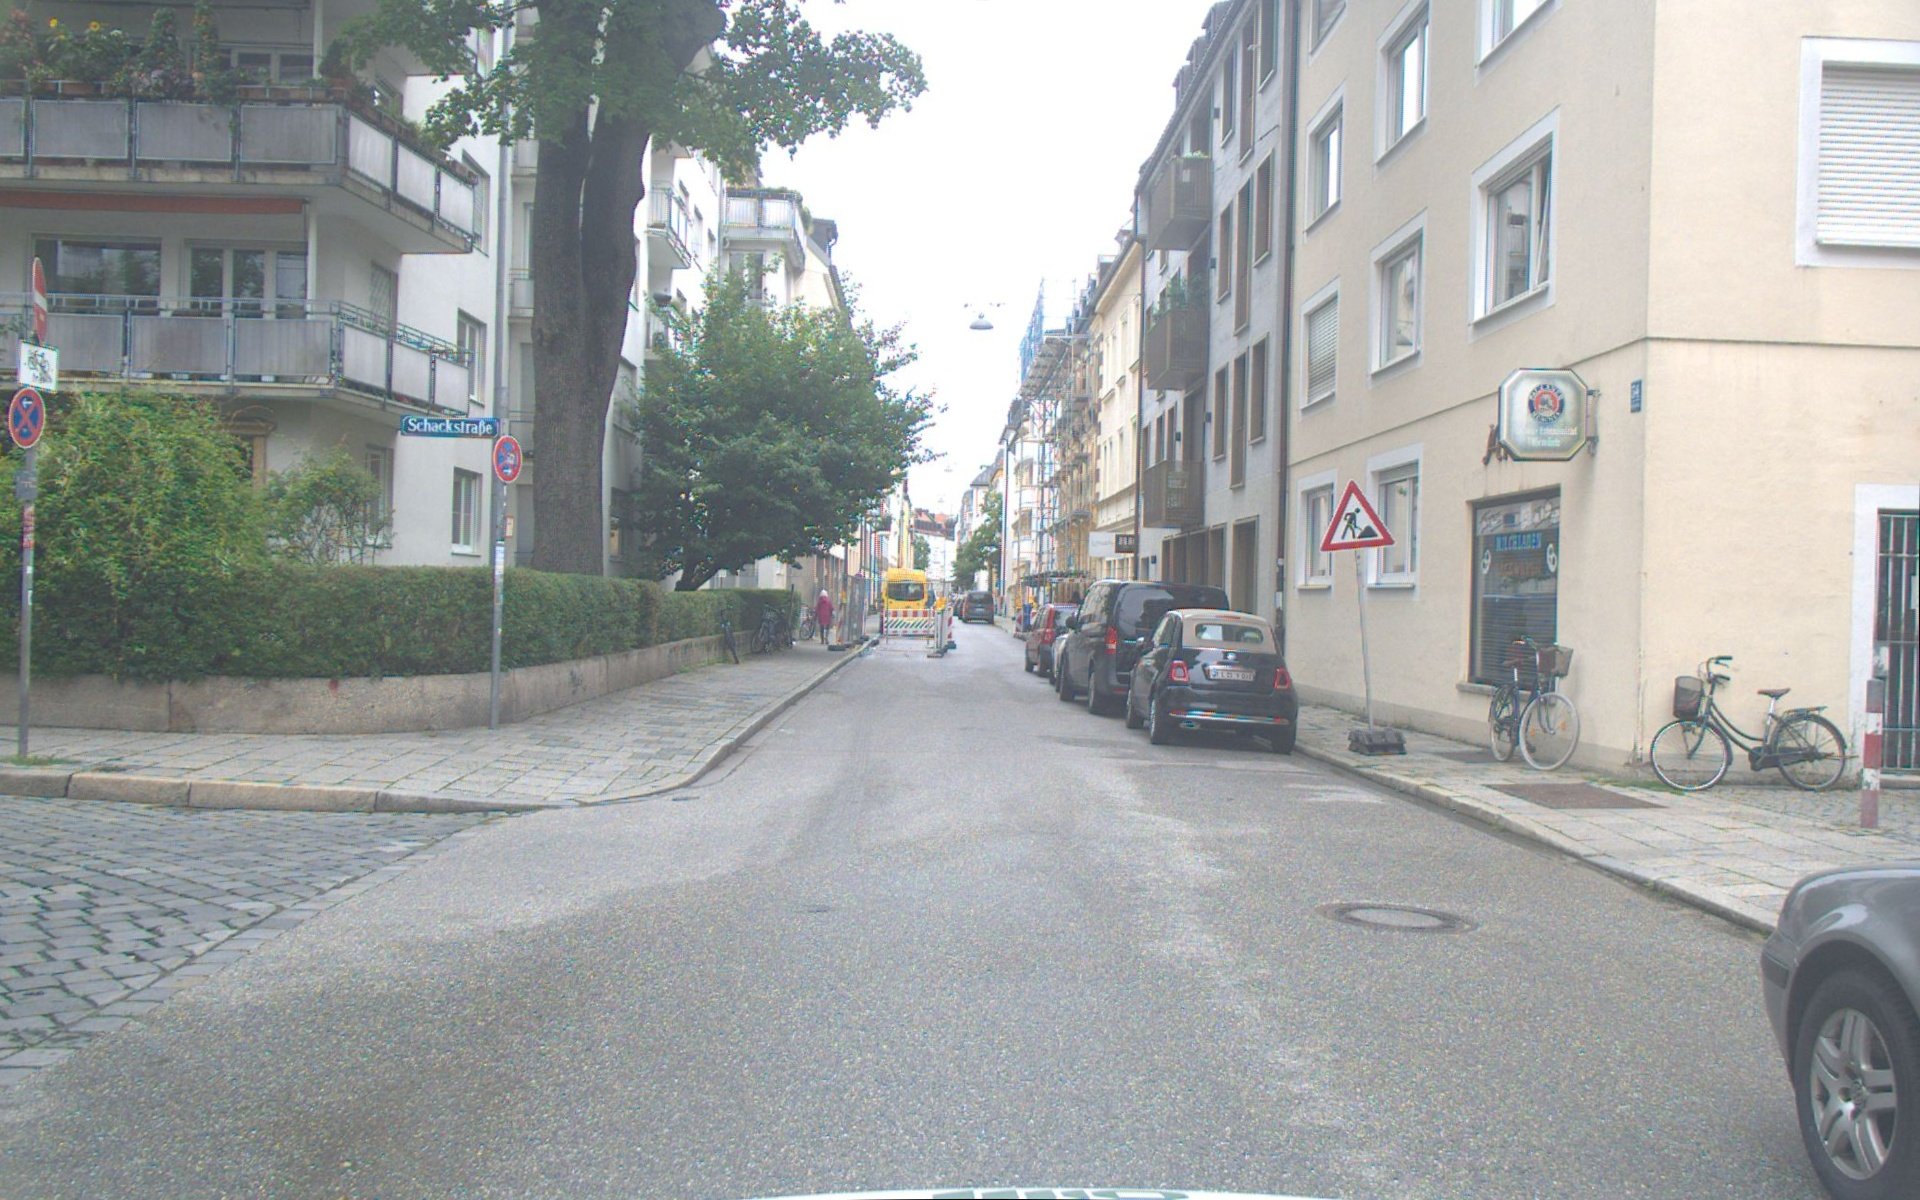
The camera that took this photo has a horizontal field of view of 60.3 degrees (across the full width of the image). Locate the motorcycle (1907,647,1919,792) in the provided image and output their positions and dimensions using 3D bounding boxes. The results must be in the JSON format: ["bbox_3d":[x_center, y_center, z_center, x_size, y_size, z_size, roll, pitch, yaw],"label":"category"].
[{"bbox_3d":[8.333,0.963,12.531,0.617,1.127,1.897,2,0,-43],"label":"motorcycle"}]

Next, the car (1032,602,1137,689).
[{"bbox_3d":[2.358,0.837,32.016,1.532,1.458,3.414,5,0,-2],"label":"car"}]

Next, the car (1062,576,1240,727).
[{"bbox_3d":[2.656,0.679,23.914,1.766,1.851,3.998,5,0,-3],"label":"car"}]

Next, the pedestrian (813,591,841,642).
[{"bbox_3d":[-3.955,0.490,49.264,0.740,1.517,0.831,1,-1,-1],"label":"pedestrian"}]

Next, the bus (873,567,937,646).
[{"bbox_3d":[-2.242,0.280,69.468,2.540,3.156,6.304,1,0,-1],"label":"bus"}]

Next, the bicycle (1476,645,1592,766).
[{"bbox_3d":[5.383,0.963,15.599,0.464,1.044,1.705,-1,-1,-1],"label":"bicycle"}]

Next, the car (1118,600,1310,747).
[{"bbox_3d":[2.895,0.782,19.558,1.592,1.513,3.807,2,0,-1],"label":"car"}]

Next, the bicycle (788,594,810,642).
[{"bbox_3d":[-4.895,0.541,50.328,0.504,1.442,1.933,1,-1,-1],"label":"bicycle"}]

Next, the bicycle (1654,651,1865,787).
[{"bbox_3d":[6.508,0.959,13.489,1.505,1.044,0.475,-1,0,-3],"label":"bicycle"}]

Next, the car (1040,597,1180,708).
[{"bbox_3d":[2.459,0.825,28.005,1.765,1.595,3.998,5,0,-2],"label":"car"}]

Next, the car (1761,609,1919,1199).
[{"bbox_3d":[3.221,0.793,2.733,1.709,1.470,3.998,2,0,-2],"label":"car"}]

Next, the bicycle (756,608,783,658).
[{"bbox_3d":[-4.315,0.731,37.535,0.437,1.092,2.466,1,0,-3],"label":"bicycle"}]

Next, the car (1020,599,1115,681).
[{"bbox_3d":[2.279,0.823,35.788,1.603,1.541,3.828,5,0,-1],"label":"car"}]

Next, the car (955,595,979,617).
[{"bbox_3d":[0.521,0.494,129.957,1.764,1.642,3.999,2,0,-1],"label":"car"}]

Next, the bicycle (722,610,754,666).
[{"bbox_3d":[-4.292,0.719,31.998,0.406,1.038,1.853,1,0,-1],"label":"bicycle"}]

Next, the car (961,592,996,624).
[{"bbox_3d":[1.122,0.476,101.526,1.766,1.741,3.824,5,0,-3],"label":"car"}]
